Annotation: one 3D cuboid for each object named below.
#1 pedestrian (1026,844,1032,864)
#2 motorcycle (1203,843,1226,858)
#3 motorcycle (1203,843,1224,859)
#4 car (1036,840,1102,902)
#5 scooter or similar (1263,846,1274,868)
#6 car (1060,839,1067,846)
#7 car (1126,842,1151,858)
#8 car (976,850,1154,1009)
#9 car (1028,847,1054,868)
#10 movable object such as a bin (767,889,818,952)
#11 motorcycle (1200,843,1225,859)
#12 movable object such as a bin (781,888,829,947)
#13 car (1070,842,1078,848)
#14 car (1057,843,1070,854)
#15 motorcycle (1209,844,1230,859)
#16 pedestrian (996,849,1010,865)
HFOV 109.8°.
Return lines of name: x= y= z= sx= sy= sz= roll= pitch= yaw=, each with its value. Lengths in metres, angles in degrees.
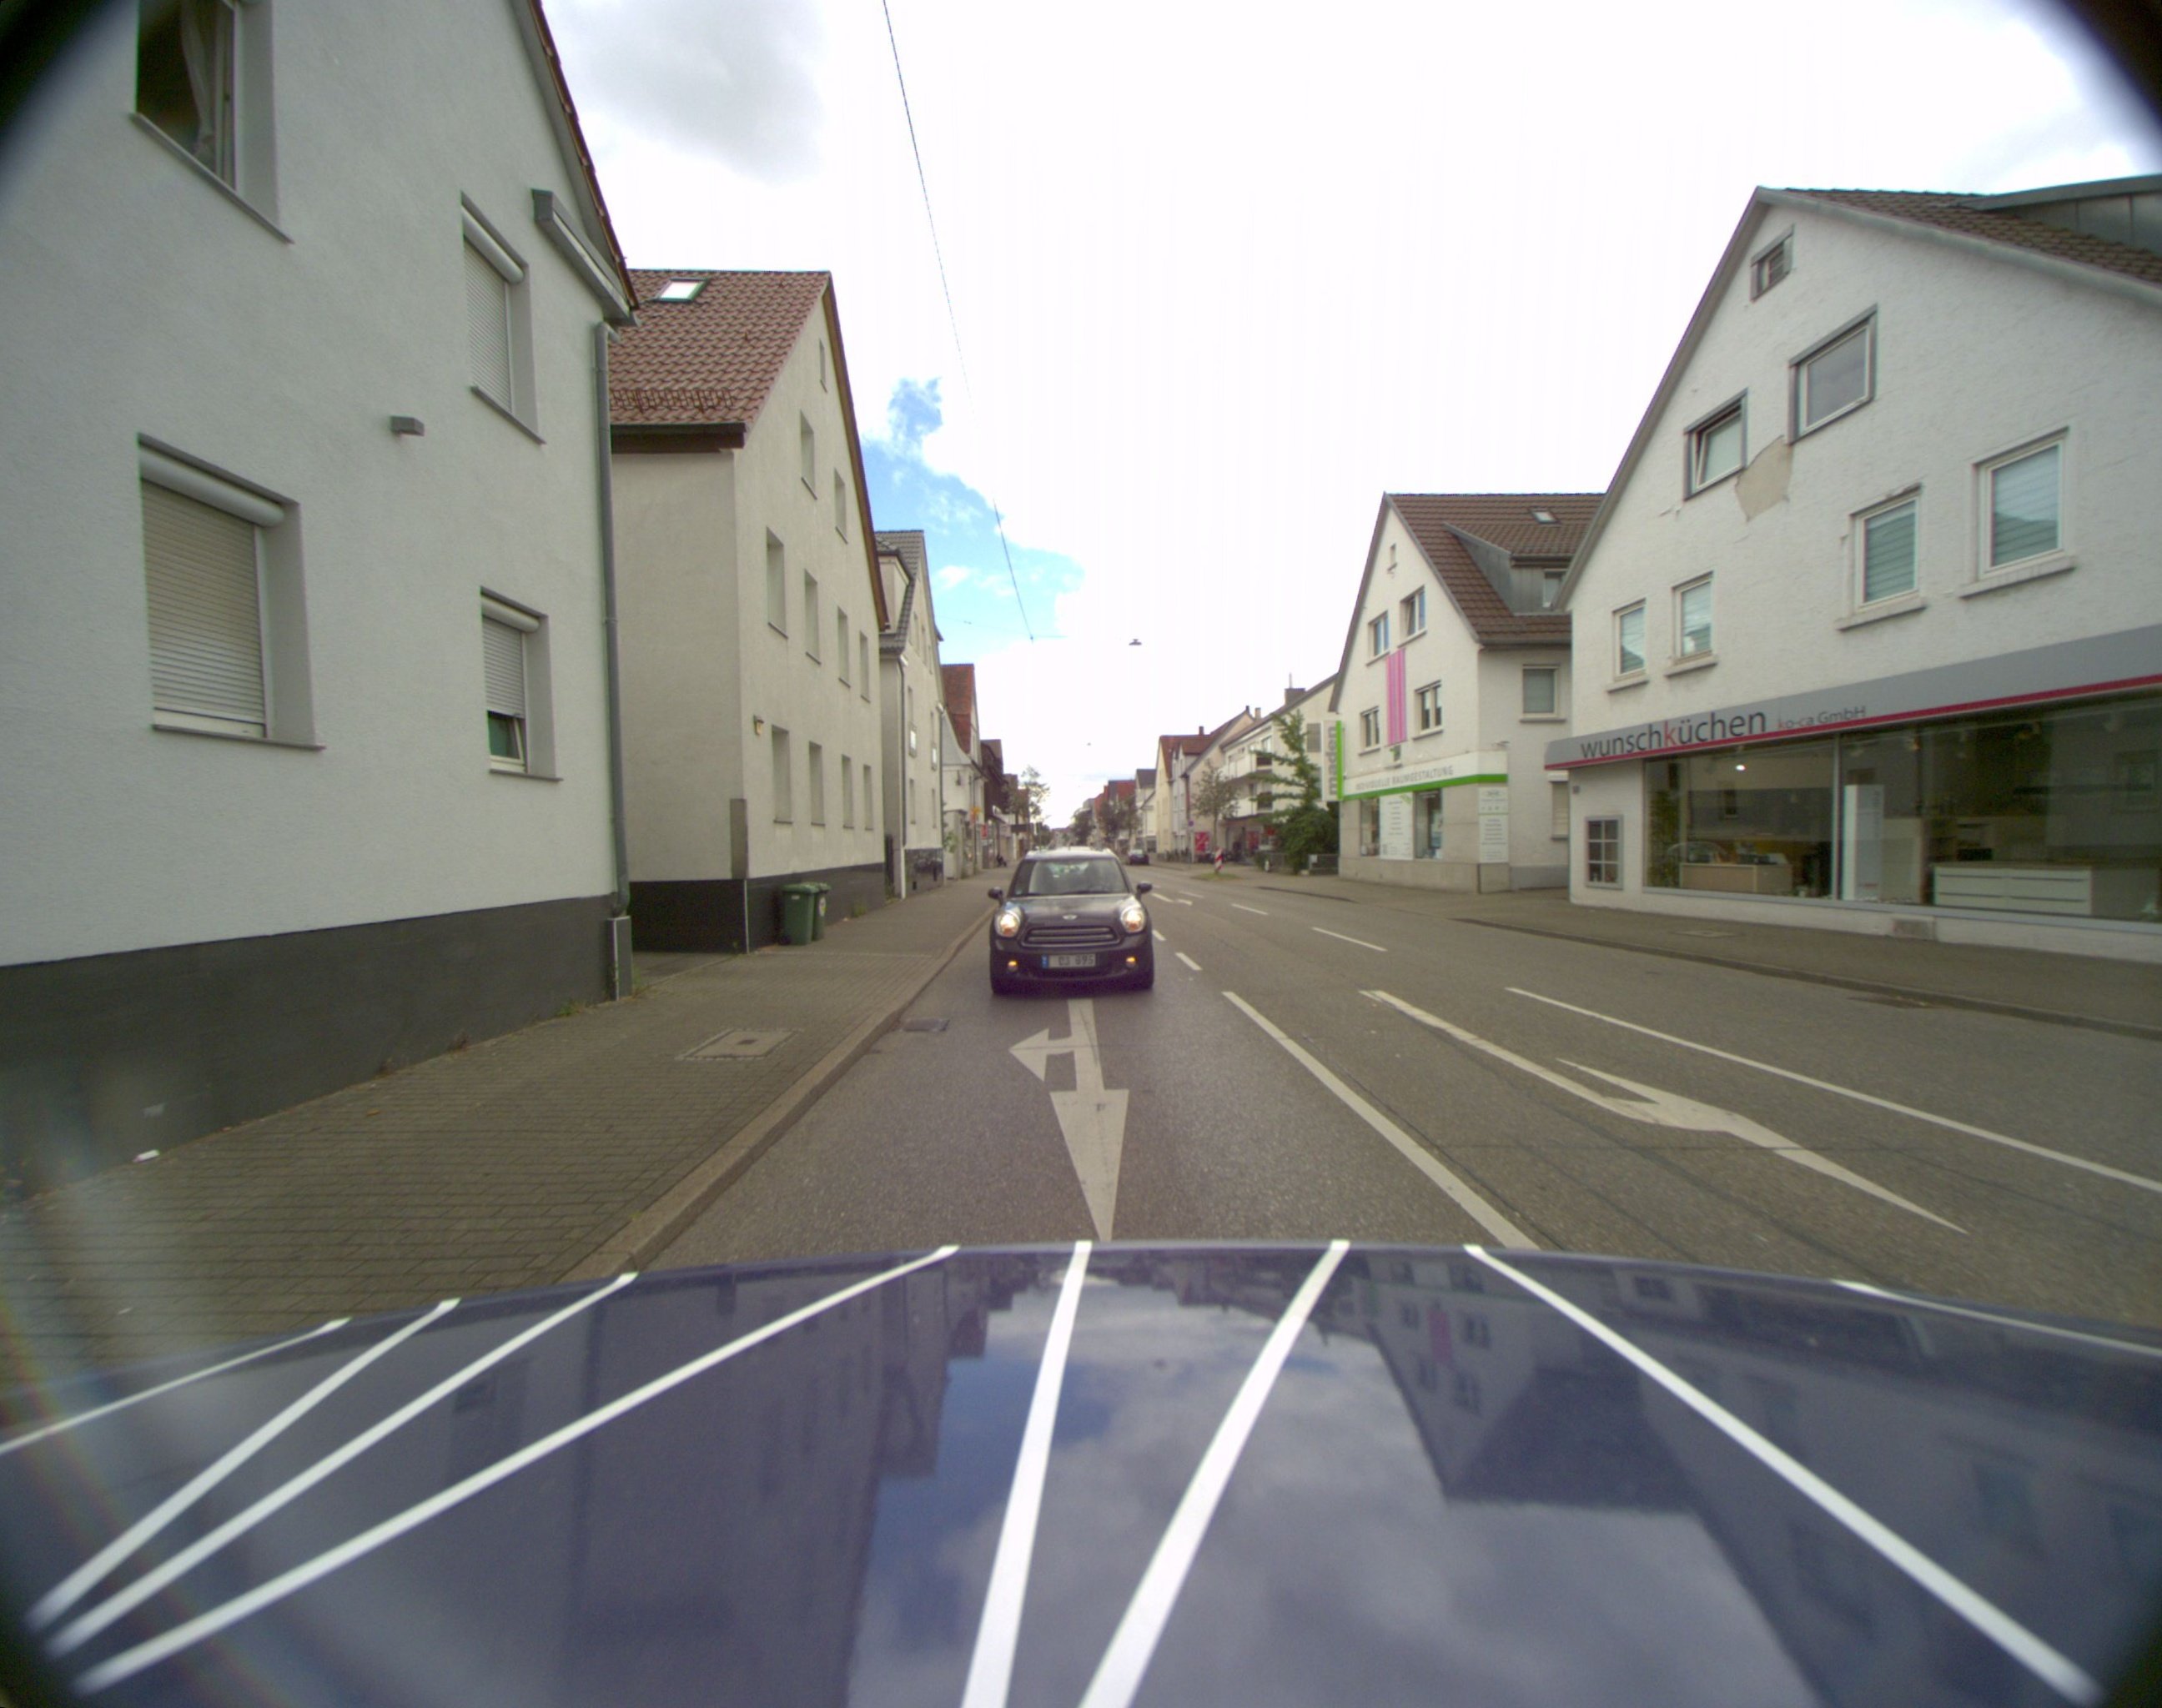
pedestrian: x=-4.363 y=-0.001 z=63.688 sx=0.497 sy=1.744 sz=0.451 roll=-1 pitch=1 yaw=0
motorcycle: x=10.387 y=-0.274 z=59.105 sx=1.679 sy=1.099 sz=0.558 roll=-3 pitch=2 yaw=-2
motorcycle: x=9.997 y=-0.217 z=57.369 sx=1.515 sy=1.099 sz=0.589 roll=-3 pitch=2 yaw=4
car: x=-0.474 y=0.448 z=23.863 sx=1.811 sy=1.556 sz=4.614 roll=-3 pitch=3 yaw=-3
scooter or similar: x=9.607 y=0.139 z=38.994 sx=0.465 sy=1.117 sz=1.829 roll=-2 pitch=1 yaw=13
car: x=-5.599 y=-3.674 z=242.222 sx=1.951 sy=2.118 sz=4.320 roll=0 pitch=1 yaw=-5
car: x=5.085 y=-0.376 z=67.459 sx=1.634 sy=1.404 sz=3.997 roll=0 pitch=1 yaw=-5
car: x=-0.172 y=0.733 z=9.424 sx=1.693 sy=1.507 sz=3.999 roll=-2 pitch=0 yaw=0
car: x=-3.131 y=0.247 z=59.437 sx=1.846 sy=1.510 sz=3.998 roll=-3 pitch=1 yaw=-3
movable object such as a bin: x=-4.412 y=1.009 z=11.637 sx=0.565 sy=0.898 sz=0.519 roll=0 pitch=2 yaw=-1
motorcycle: x=10.100 y=-0.244 z=58.318 sx=1.834 sy=1.099 sz=0.505 roll=-3 pitch=2 yaw=-2
movable object such as a bin: x=-4.433 y=1.012 z=12.221 sx=0.565 sy=0.898 sz=0.519 roll=0 pitch=2 yaw=-1
car: x=-1.763 y=-2.331 z=195.726 sx=1.846 sy=1.510 sz=3.998 roll=-3 pitch=1 yaw=-1
car: x=-2.605 y=-0.836 z=113.605 sx=1.846 sy=1.510 sz=3.998 roll=-3 pitch=1 yaw=-1
motorcycle: x=10.351 y=-0.217 z=56.650 sx=1.429 sy=1.017 sz=0.525 roll=-3 pitch=2 yaw=-2
pedestrian: x=-6.479 y=0.240 z=63.174 sx=0.982 sy=1.272 sz=0.667 roll=0 pitch=1 yaw=11
